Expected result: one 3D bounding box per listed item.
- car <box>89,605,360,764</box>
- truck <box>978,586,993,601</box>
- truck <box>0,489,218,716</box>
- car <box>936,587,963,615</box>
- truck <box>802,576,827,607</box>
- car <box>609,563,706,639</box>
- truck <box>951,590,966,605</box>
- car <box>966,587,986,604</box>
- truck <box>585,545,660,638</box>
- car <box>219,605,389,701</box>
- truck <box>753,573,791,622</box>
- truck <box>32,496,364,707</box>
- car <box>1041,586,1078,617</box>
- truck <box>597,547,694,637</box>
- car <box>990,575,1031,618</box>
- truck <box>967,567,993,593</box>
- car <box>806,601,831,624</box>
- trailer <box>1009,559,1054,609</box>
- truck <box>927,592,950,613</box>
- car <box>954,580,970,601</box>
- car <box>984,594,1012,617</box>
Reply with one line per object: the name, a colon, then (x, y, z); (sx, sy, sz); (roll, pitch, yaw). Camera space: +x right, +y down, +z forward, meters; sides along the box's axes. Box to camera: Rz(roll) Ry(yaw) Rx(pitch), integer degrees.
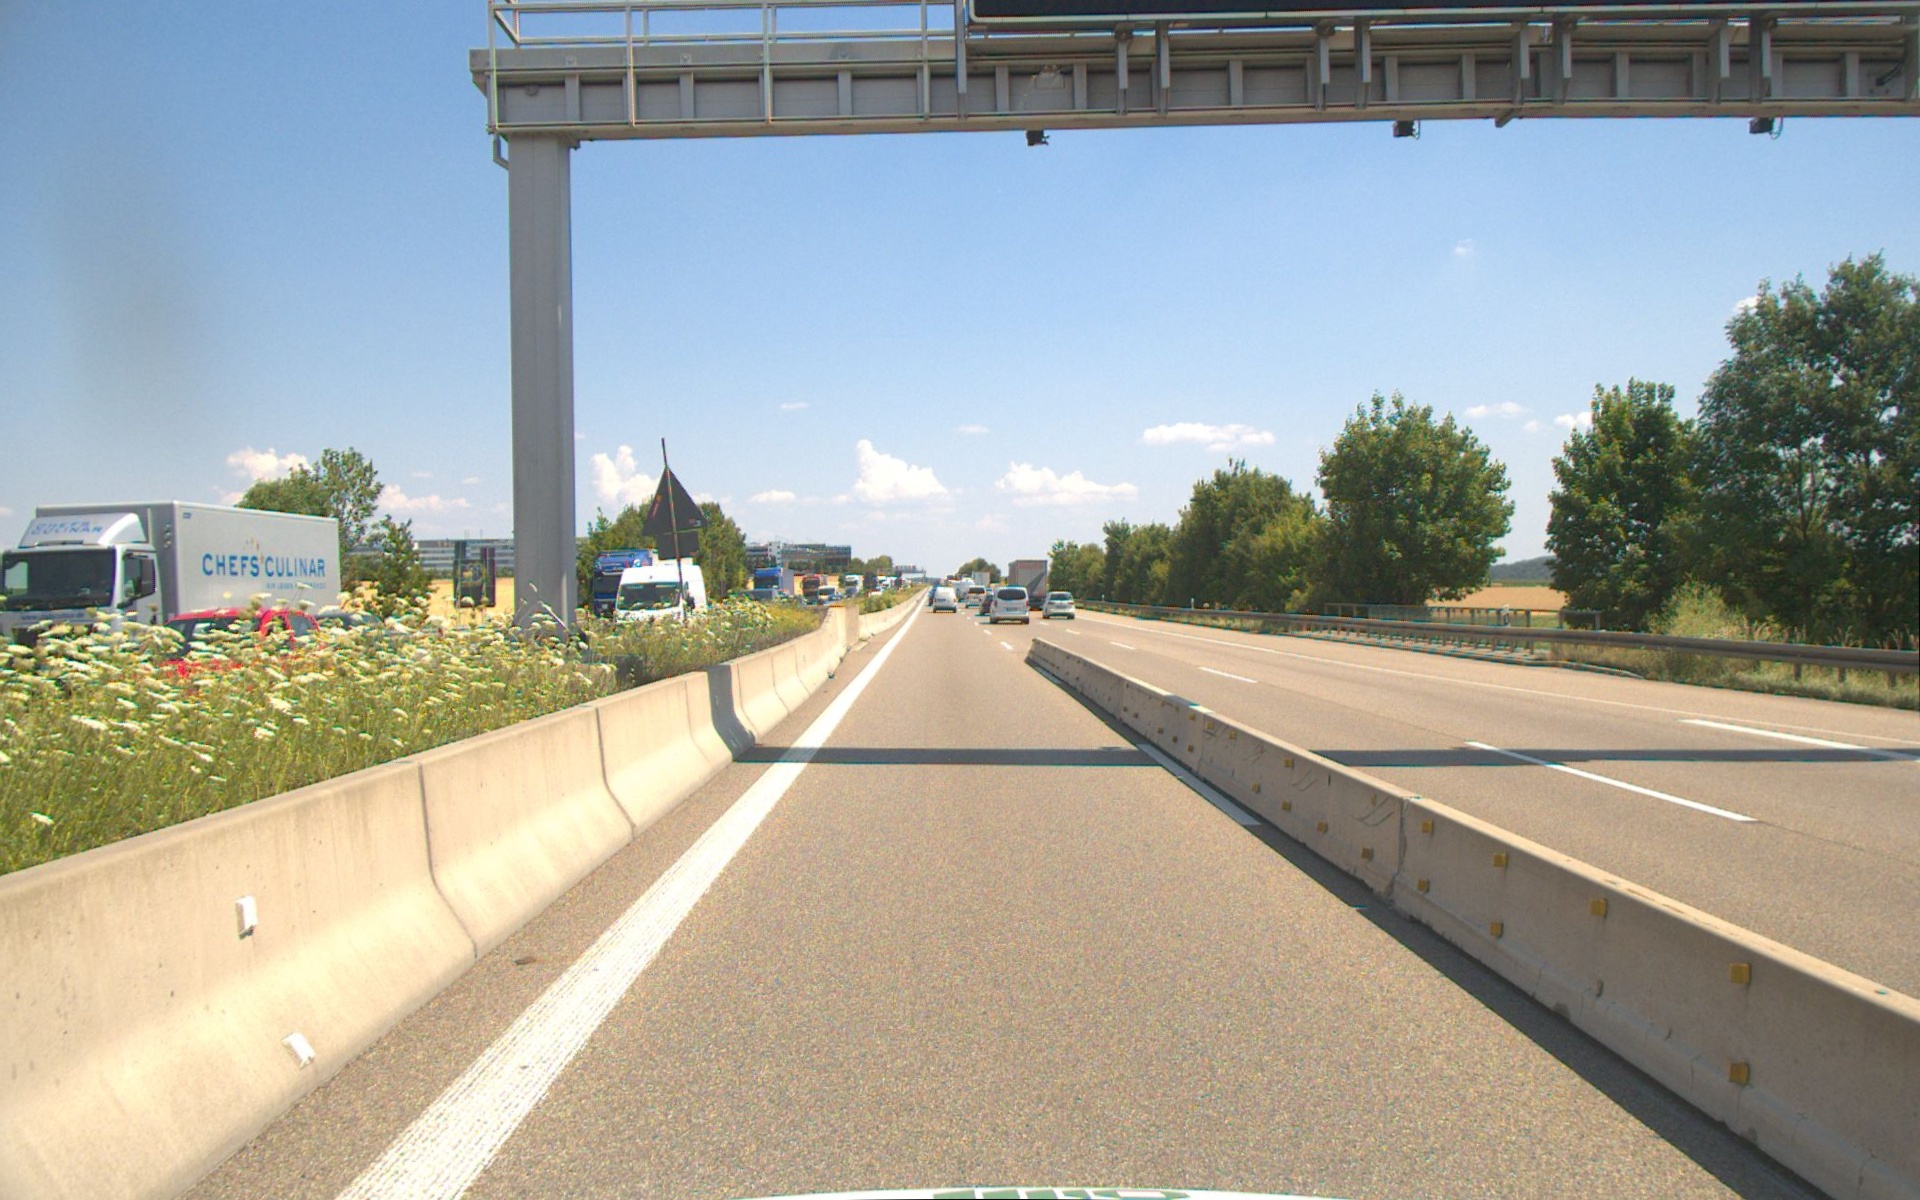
car: (-8.310, 0.880, 19.034); (1.527, 1.597, 3.703); (-1, 0, -2)
truck: (3.561, -0.905, 229.787); (1.953, 2.049, 3.999); (-1, 0, -1)
truck: (-15.340, 0.045, 29.074); (2.643, 3.650, 4.000); (-2, 0, 0)
car: (-0.823, 0.078, 123.865); (1.953, 2.049, 3.999); (0, -1, -1)
truck: (-18.676, -1.093, 211.986); (2.798, 3.922, 3.999); (-2, 0, -1)
car: (-8.503, 0.022, 46.882); (1.953, 1.980, 4.793); (-1, 0, -2)
truck: (-0.186, -0.304, 226.306); (1.953, 2.049, 3.999); (-1, 0, -1)
car: (1.424, -0.418, 148.366); (1.737, 1.472, 3.999); (0, -1, -1)
truck: (-16.545, -0.409, 81.400); (2.540, 4.312, 4.853); (-3, 0, -1)
car: (-11.527, 0.882, 29.313); (1.528, 1.467, 3.836); (-3, 0, -2)
truck: (-17.306, -0.236, 152.301); (2.807, 4.426, 5.585); (-1, 0, -1)
truck: (-15.329, 0.002, 34.213); (2.644, 3.683, 8.786); (-2, 0, 0)
car: (6.090, 0.097, 101.139); (1.953, 1.825, 3.999); (0, -1, -1)
truck: (-16.684, -0.412, 88.782); (2.540, 4.312, 14.119); (-3, 0, -1)
car: (2.585, -0.151, 85.400); (1.953, 2.157, 3.999); (0, -1, -1)
truck: (3.203, -3.117, 262.702); (3.738, 3.973, 9.578); (-1, 0, -1)
car: (-10.720, 0.929, 125.593); (1.650, 1.593, 4.561); (-1, 0, -2)
trailer: (5.943, -1.296, 138.893); (3.211, 4.036, 9.110); (0, -1, -1)
truck: (-2.148, 0.240, 163.819); (2.167, 2.049, 4.970); (-1, 0, -2)
car: (0.238, -1.085, 197.029); (1.737, 2.434, 3.999); (0, -1, -1)
car: (2.555, 0.391, 111.868); (1.737, 1.472, 3.999); (0, -1, -1)
